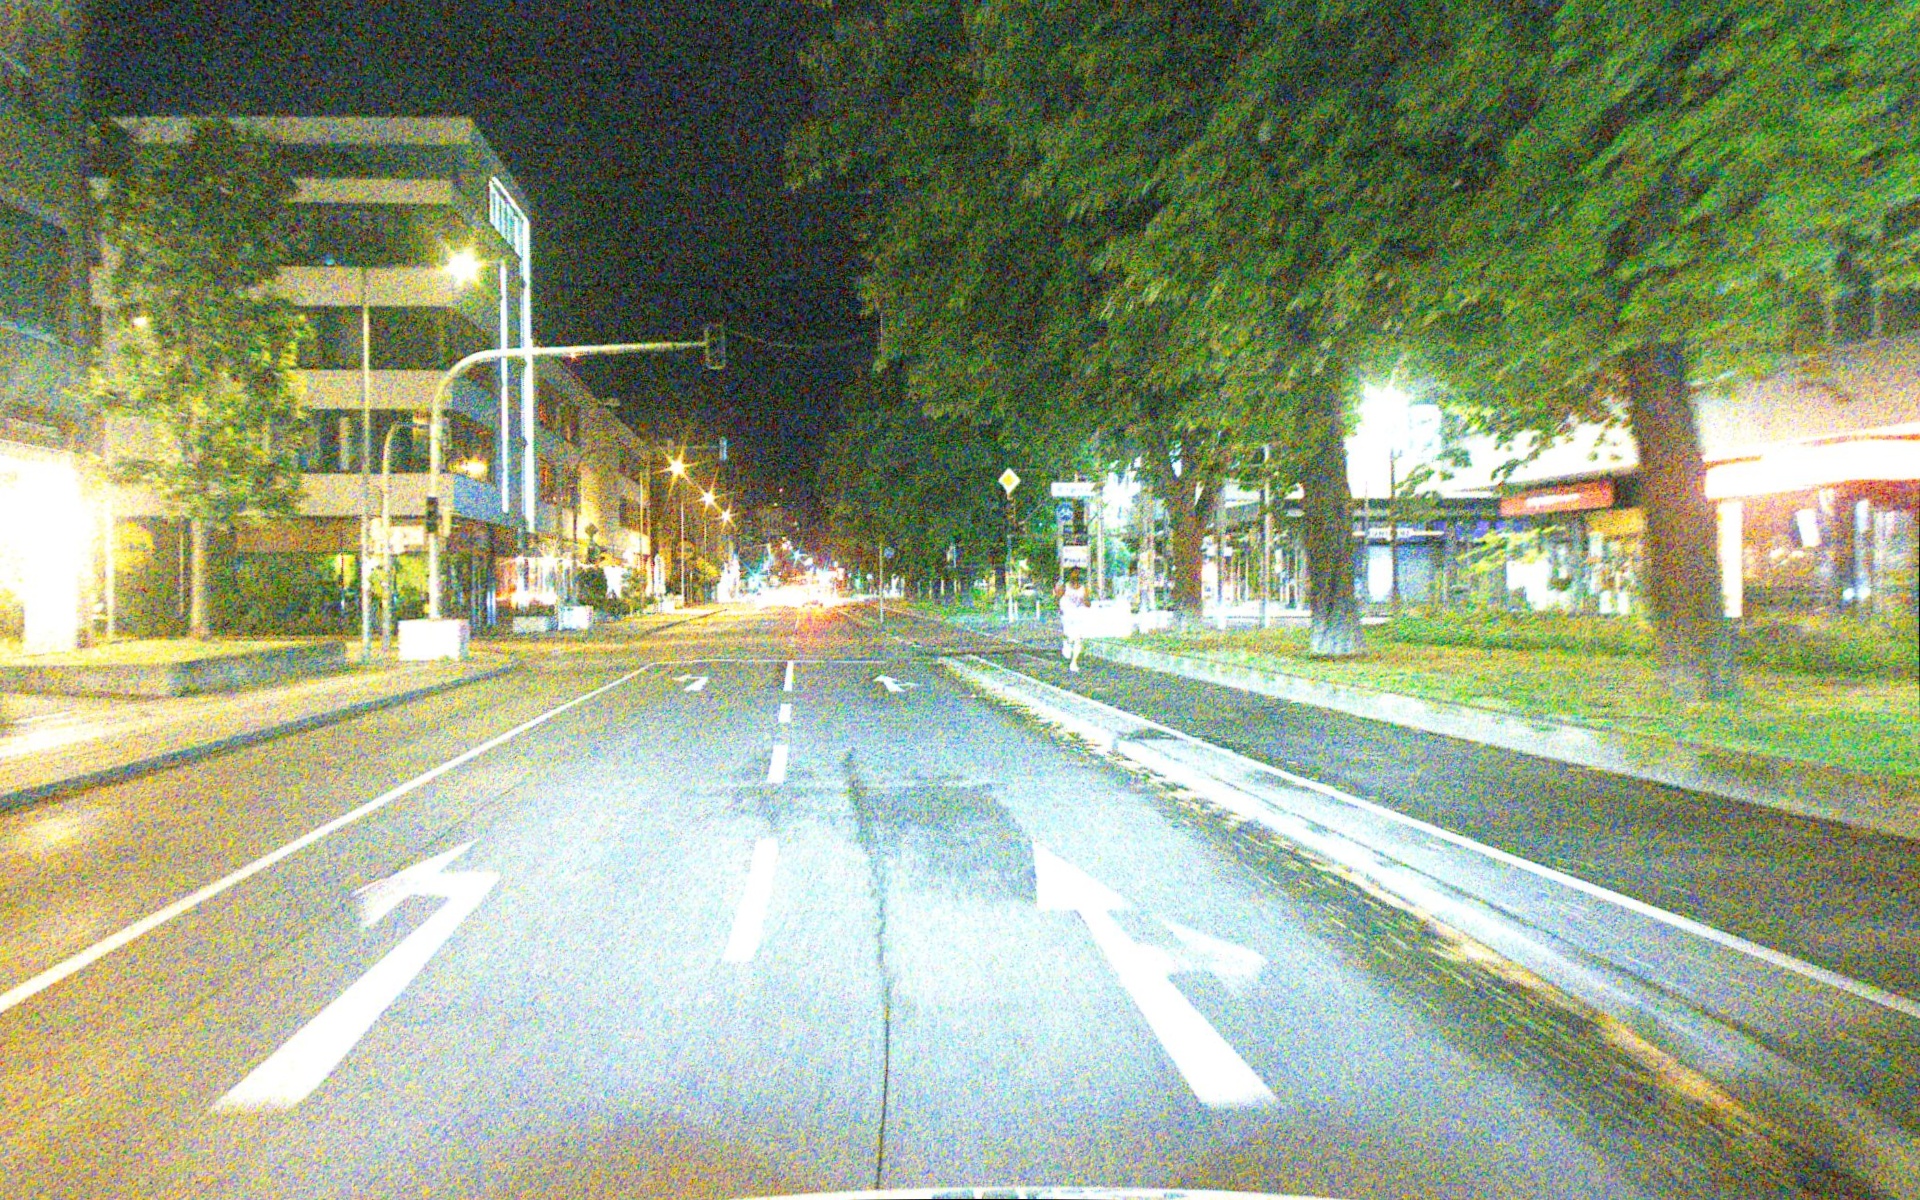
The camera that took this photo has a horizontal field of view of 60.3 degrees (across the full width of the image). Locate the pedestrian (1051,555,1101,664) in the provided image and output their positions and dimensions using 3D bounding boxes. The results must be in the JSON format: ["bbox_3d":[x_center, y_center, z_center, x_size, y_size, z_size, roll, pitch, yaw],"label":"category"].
[{"bbox_3d":[2.011,0.160,28.788,0.689,1.850,1.081,-1,0,-5],"label":"pedestrian"}]

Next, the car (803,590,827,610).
[{"bbox_3d":[-12.542,-0.033,143.034,1.955,1.672,3.995,-2,0,-6],"label":"car"}]
